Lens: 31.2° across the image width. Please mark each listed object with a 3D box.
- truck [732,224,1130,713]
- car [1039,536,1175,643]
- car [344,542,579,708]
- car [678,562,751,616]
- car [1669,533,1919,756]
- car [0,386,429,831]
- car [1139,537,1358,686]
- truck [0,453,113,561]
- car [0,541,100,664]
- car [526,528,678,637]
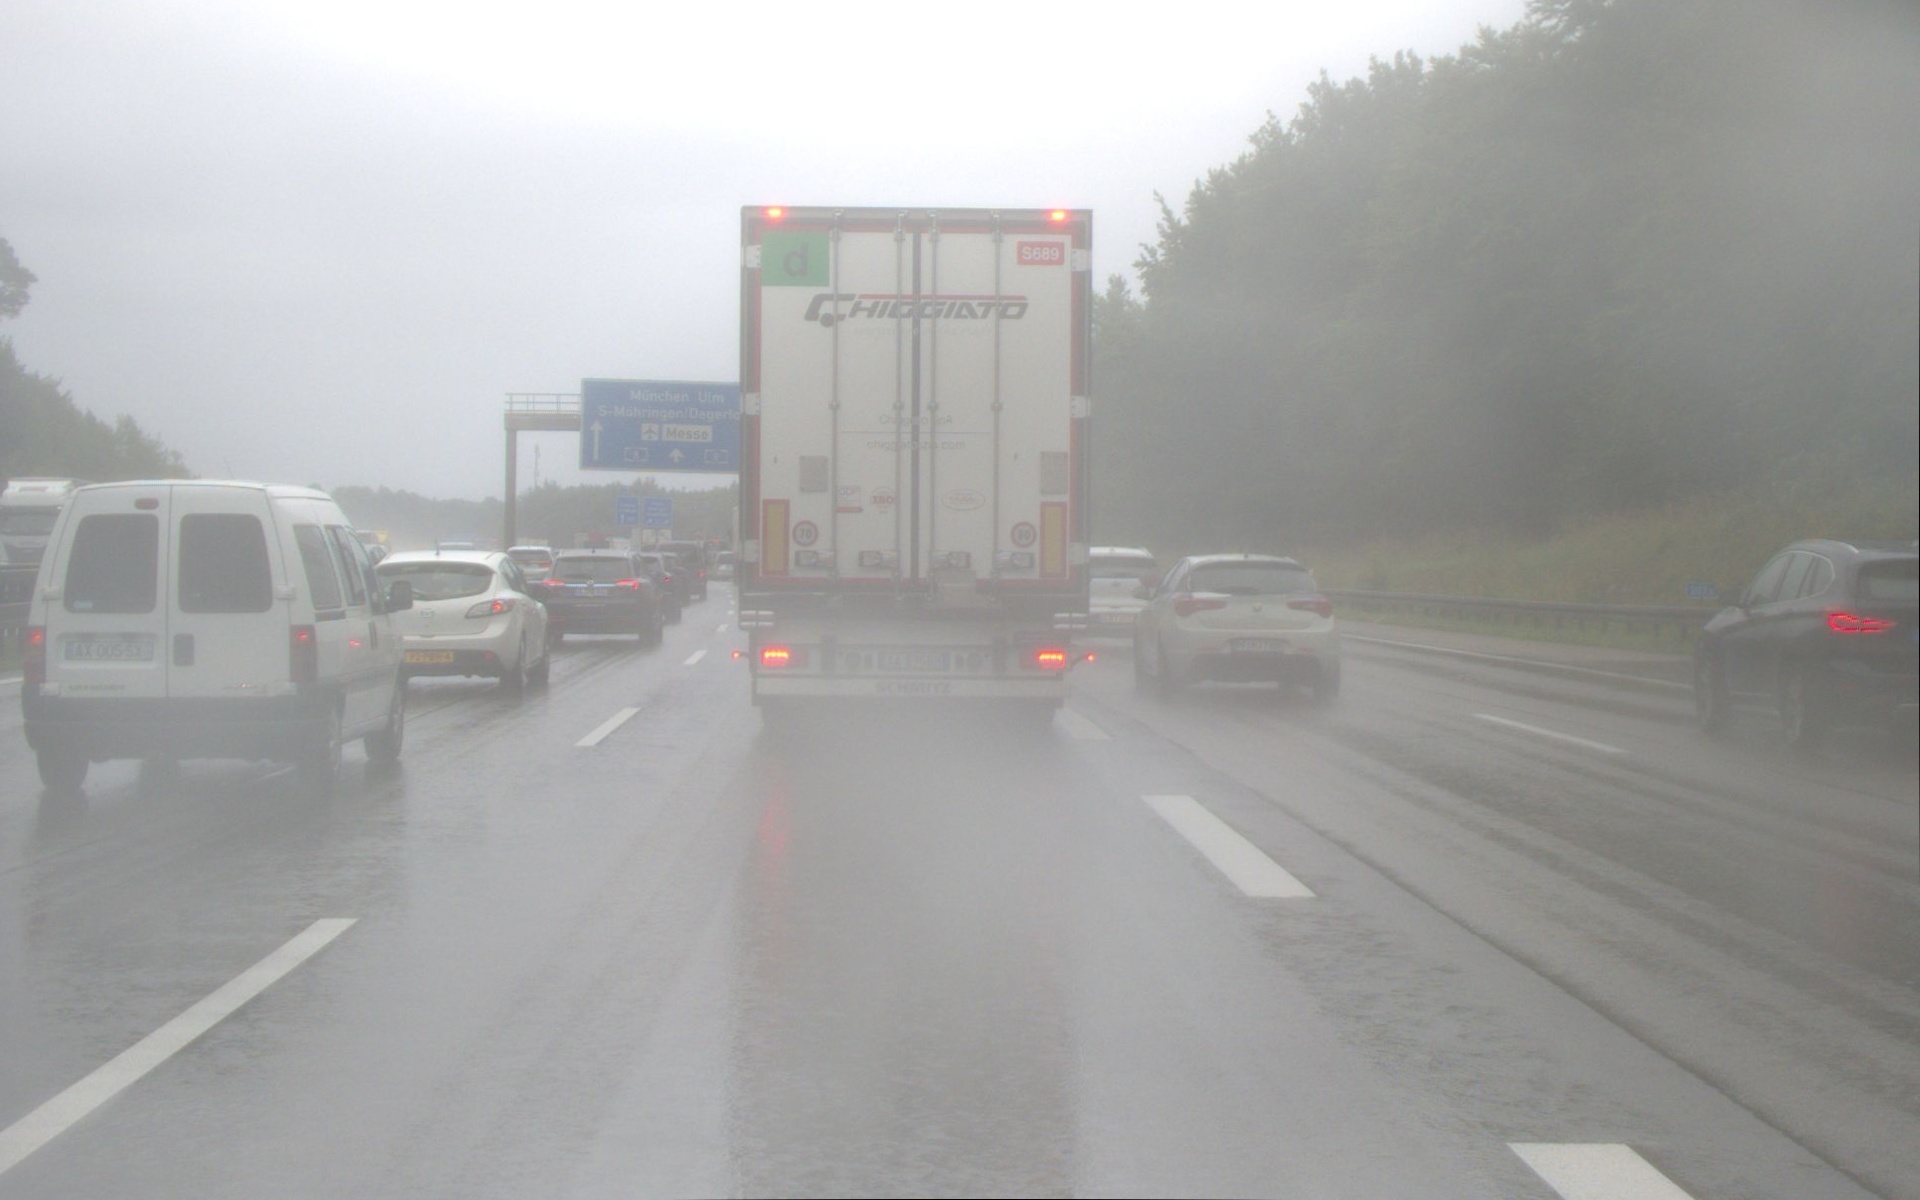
[{"bbox_3d":[-0.294,-1.024,30.837,2.872,3.550,11.303,1,1,-1],"label":"truck"},{"bbox_3d":[2.183,-0.189,52.104,1.845,1.517,4.344,1,1,0],"label":"car"},{"bbox_3d":[-5.140,0.213,35.904,1.845,1.586,4.072,1,1,0],"label":"car"},{"bbox_3d":[-6.493,-0.300,91.214,1.845,1.326,4.467,1,1,-3],"label":"car"},{"bbox_3d":[7.041,0.277,27.041,1.990,1.578,4.767,1,1,1],"label":"car"},{"bbox_3d":[-4.797,-0.002,22.440,2.212,2.564,5.016,1,1,-4],"label":"car"},{"bbox_3d":[2.928,0.070,35.731,1.890,1.420,4.483,1,1,0],"label":"car"},{"bbox_3d":[-33.007,-3.351,125.104,3.020,3.805,6.265,0,1,-2],"label":"truck"},{"bbox_3d":[-12.802,0.002,45.195,2.090,1.499,4.755,-1,1,-4],"label":"car"},{"bbox_3d":[-5.477,-0.303,53.041,1.845,1.586,4.467,1,1,0],"label":"car"}]
